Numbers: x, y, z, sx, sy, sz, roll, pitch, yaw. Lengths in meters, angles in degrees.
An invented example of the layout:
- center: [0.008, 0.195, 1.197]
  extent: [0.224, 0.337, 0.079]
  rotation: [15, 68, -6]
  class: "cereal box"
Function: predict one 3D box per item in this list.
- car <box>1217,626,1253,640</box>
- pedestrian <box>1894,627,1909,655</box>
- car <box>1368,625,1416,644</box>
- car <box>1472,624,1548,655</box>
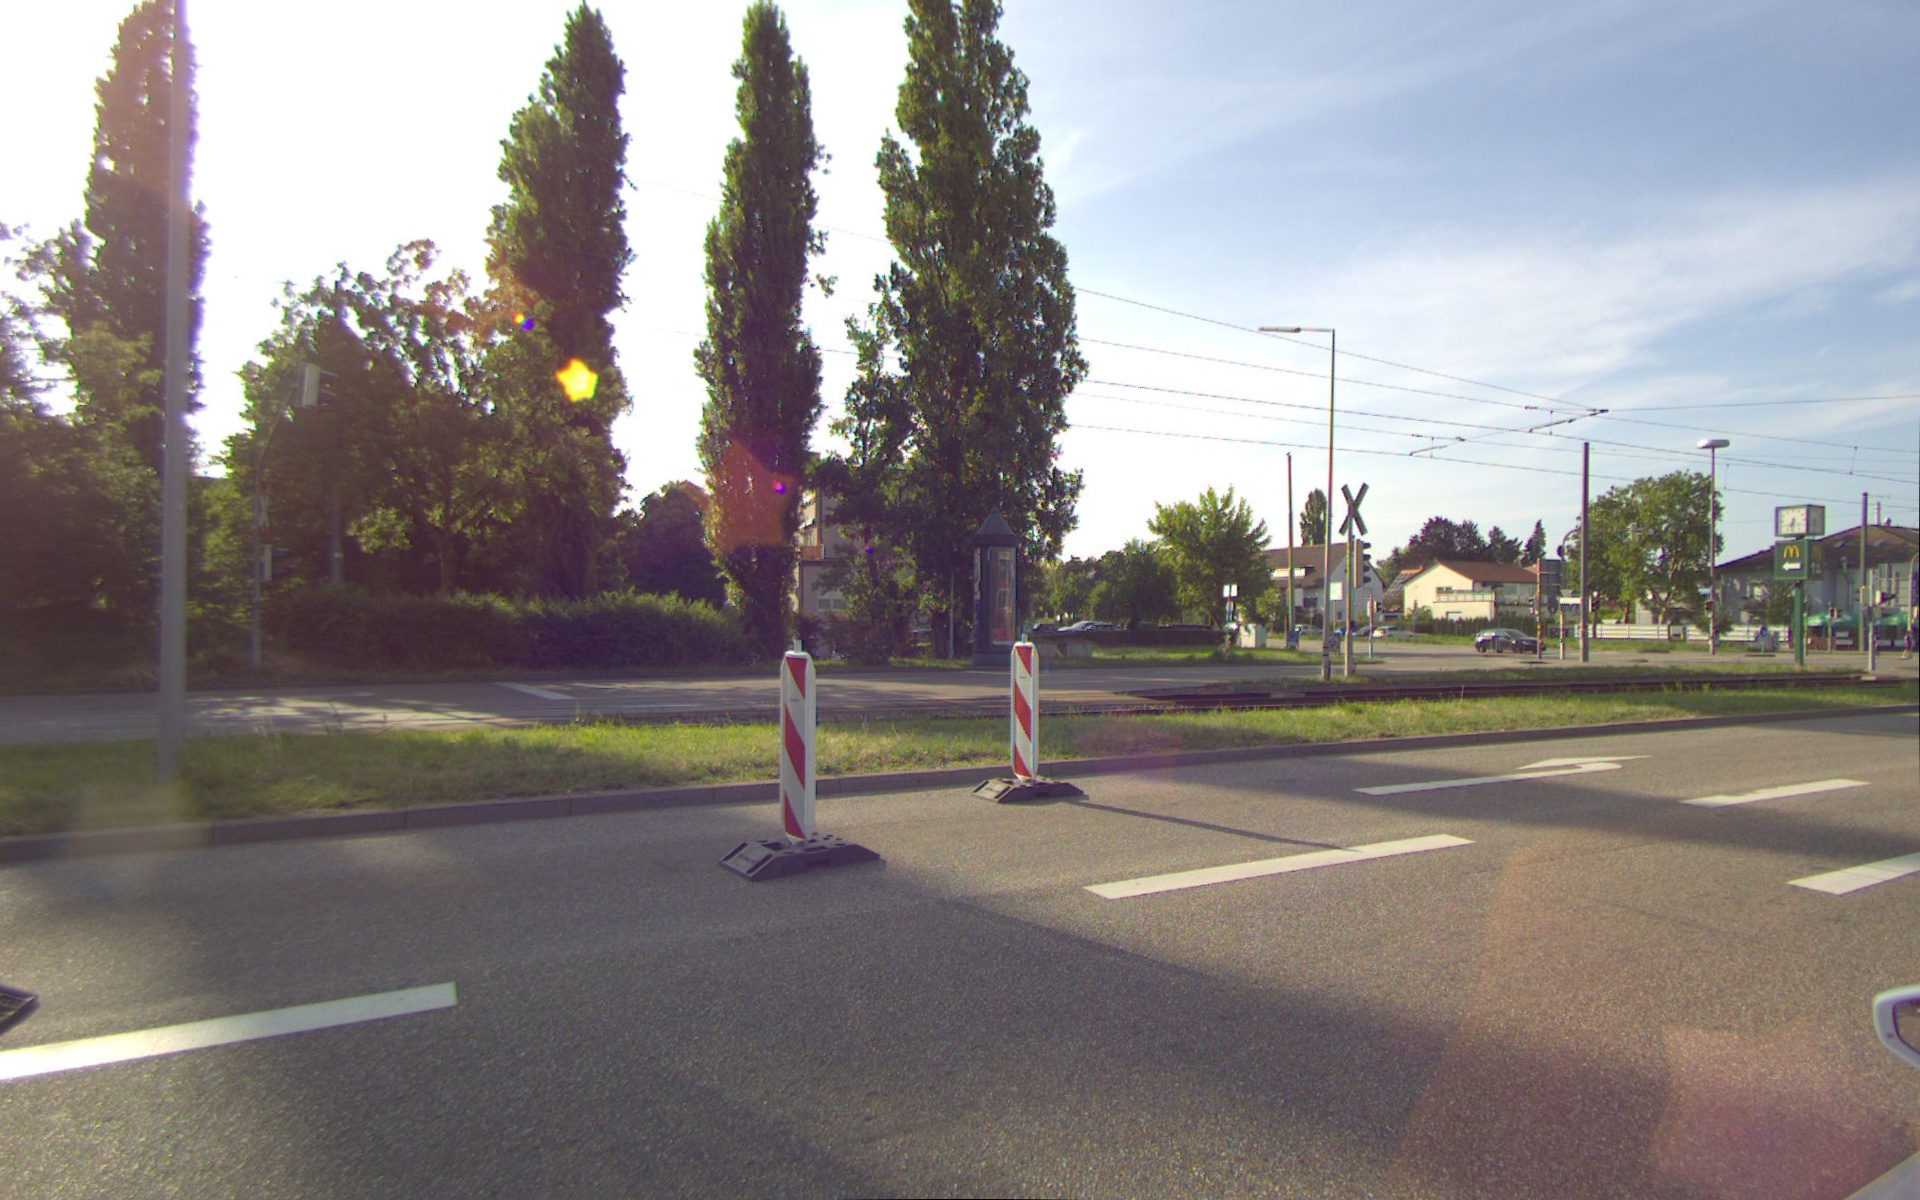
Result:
- center: [30.473, 3.681, 111.379]
  extent: [1.968, 1.505, 3.985]
  rotation: [1, -1, -18]
  class: "car"
- center: [55.663, 2.428, 59.384]
  extent: [0.533, 1.620, 0.509]
  rotation: [1, -1, -29]
  class: "pedestrian"
- center: [43.254, 3.420, 100.493]
  extent: [4.155, 1.706, 1.991]
  rotation: [2, 0, -20]
  class: "car"
- center: [33.214, 2.360, 60.726]
  extent: [1.498, 1.816, 3.977]
  rotation: [1, -1, -24]
  class: "car"
